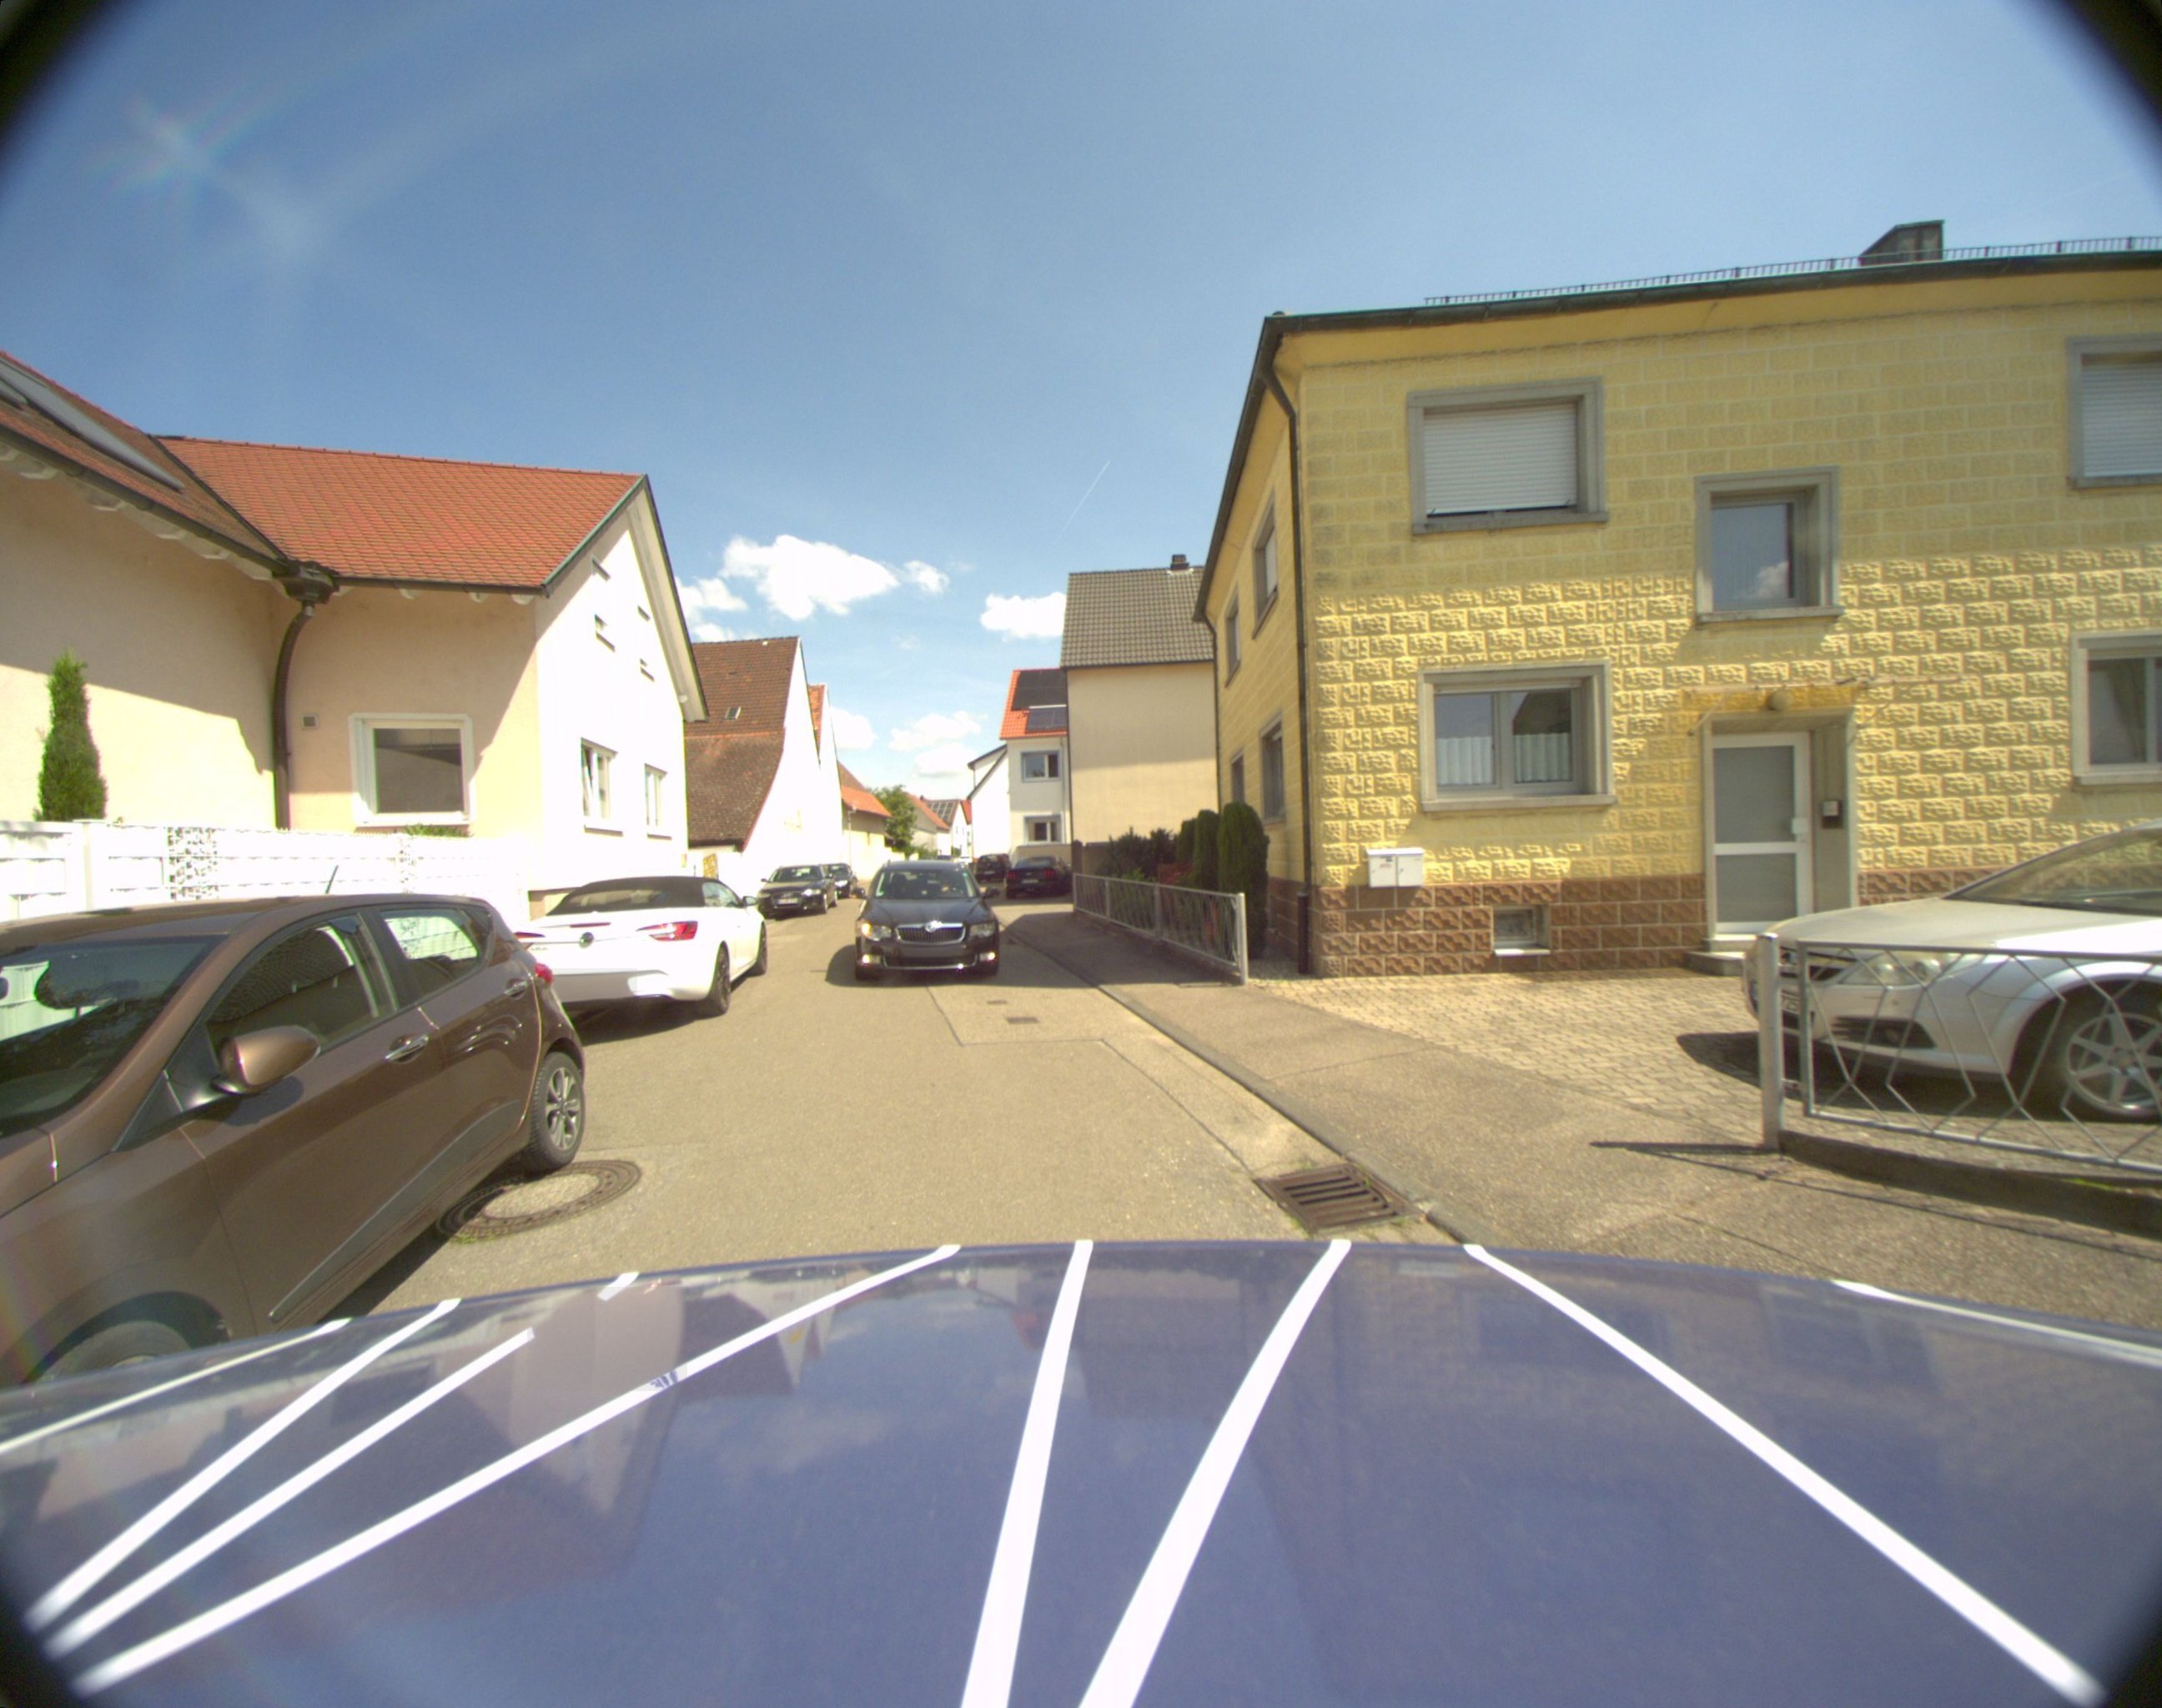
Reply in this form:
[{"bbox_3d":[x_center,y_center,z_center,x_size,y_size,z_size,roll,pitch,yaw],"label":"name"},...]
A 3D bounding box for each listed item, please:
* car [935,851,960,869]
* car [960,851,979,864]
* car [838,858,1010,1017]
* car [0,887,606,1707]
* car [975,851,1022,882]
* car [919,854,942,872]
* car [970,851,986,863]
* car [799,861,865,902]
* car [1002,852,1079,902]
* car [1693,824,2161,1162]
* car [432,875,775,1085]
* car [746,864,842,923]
[{"bbox_3d":[-13.598,0.548,77.359,1.785,1.600,3.998,-5,1,-1],"label":"car"},{"bbox_3d":[-14.363,0.410,97.807,1.785,1.492,4.037,-5,1,-1],"label":"car"},{"bbox_3d":[-2.343,0.905,10.572,1.787,1.527,4.702,-2,2,-16],"label":"car"},{"bbox_3d":[-3.242,1.049,2.378,1.718,1.524,4.030,-6,2,-15],"label":"car"},{"bbox_3d":[-4.198,0.610,39.267,1.641,1.446,3.788,-4,0,5],"label":"car"},{"bbox_3d":[-13.478,0.812,68.243,1.786,1.471,3.996,-2,1,-8],"label":"car"},{"bbox_3d":[-14.842,0.466,109.818,1.785,1.492,4.037,-5,1,-1],"label":"car"},{"bbox_3d":[-9.889,1.058,30.470,1.902,1.357,4.409,-3,1,-10],"label":"car"},{"bbox_3d":[-1.285,0.717,25.878,1.773,1.342,4.470,-3,1,7],"label":"car"},{"bbox_3d":[6.234,0.577,3.891,4.464,1.477,1.794,-2,1,16],"label":"car"},{"bbox_3d":[-4.930,1.101,8.756,1.902,1.420,4.730,-5,2,-15],"label":"car"},{"bbox_3d":[-8.301,1.072,22.409,1.902,1.357,4.731,-3,1,-12],"label":"car"}]
